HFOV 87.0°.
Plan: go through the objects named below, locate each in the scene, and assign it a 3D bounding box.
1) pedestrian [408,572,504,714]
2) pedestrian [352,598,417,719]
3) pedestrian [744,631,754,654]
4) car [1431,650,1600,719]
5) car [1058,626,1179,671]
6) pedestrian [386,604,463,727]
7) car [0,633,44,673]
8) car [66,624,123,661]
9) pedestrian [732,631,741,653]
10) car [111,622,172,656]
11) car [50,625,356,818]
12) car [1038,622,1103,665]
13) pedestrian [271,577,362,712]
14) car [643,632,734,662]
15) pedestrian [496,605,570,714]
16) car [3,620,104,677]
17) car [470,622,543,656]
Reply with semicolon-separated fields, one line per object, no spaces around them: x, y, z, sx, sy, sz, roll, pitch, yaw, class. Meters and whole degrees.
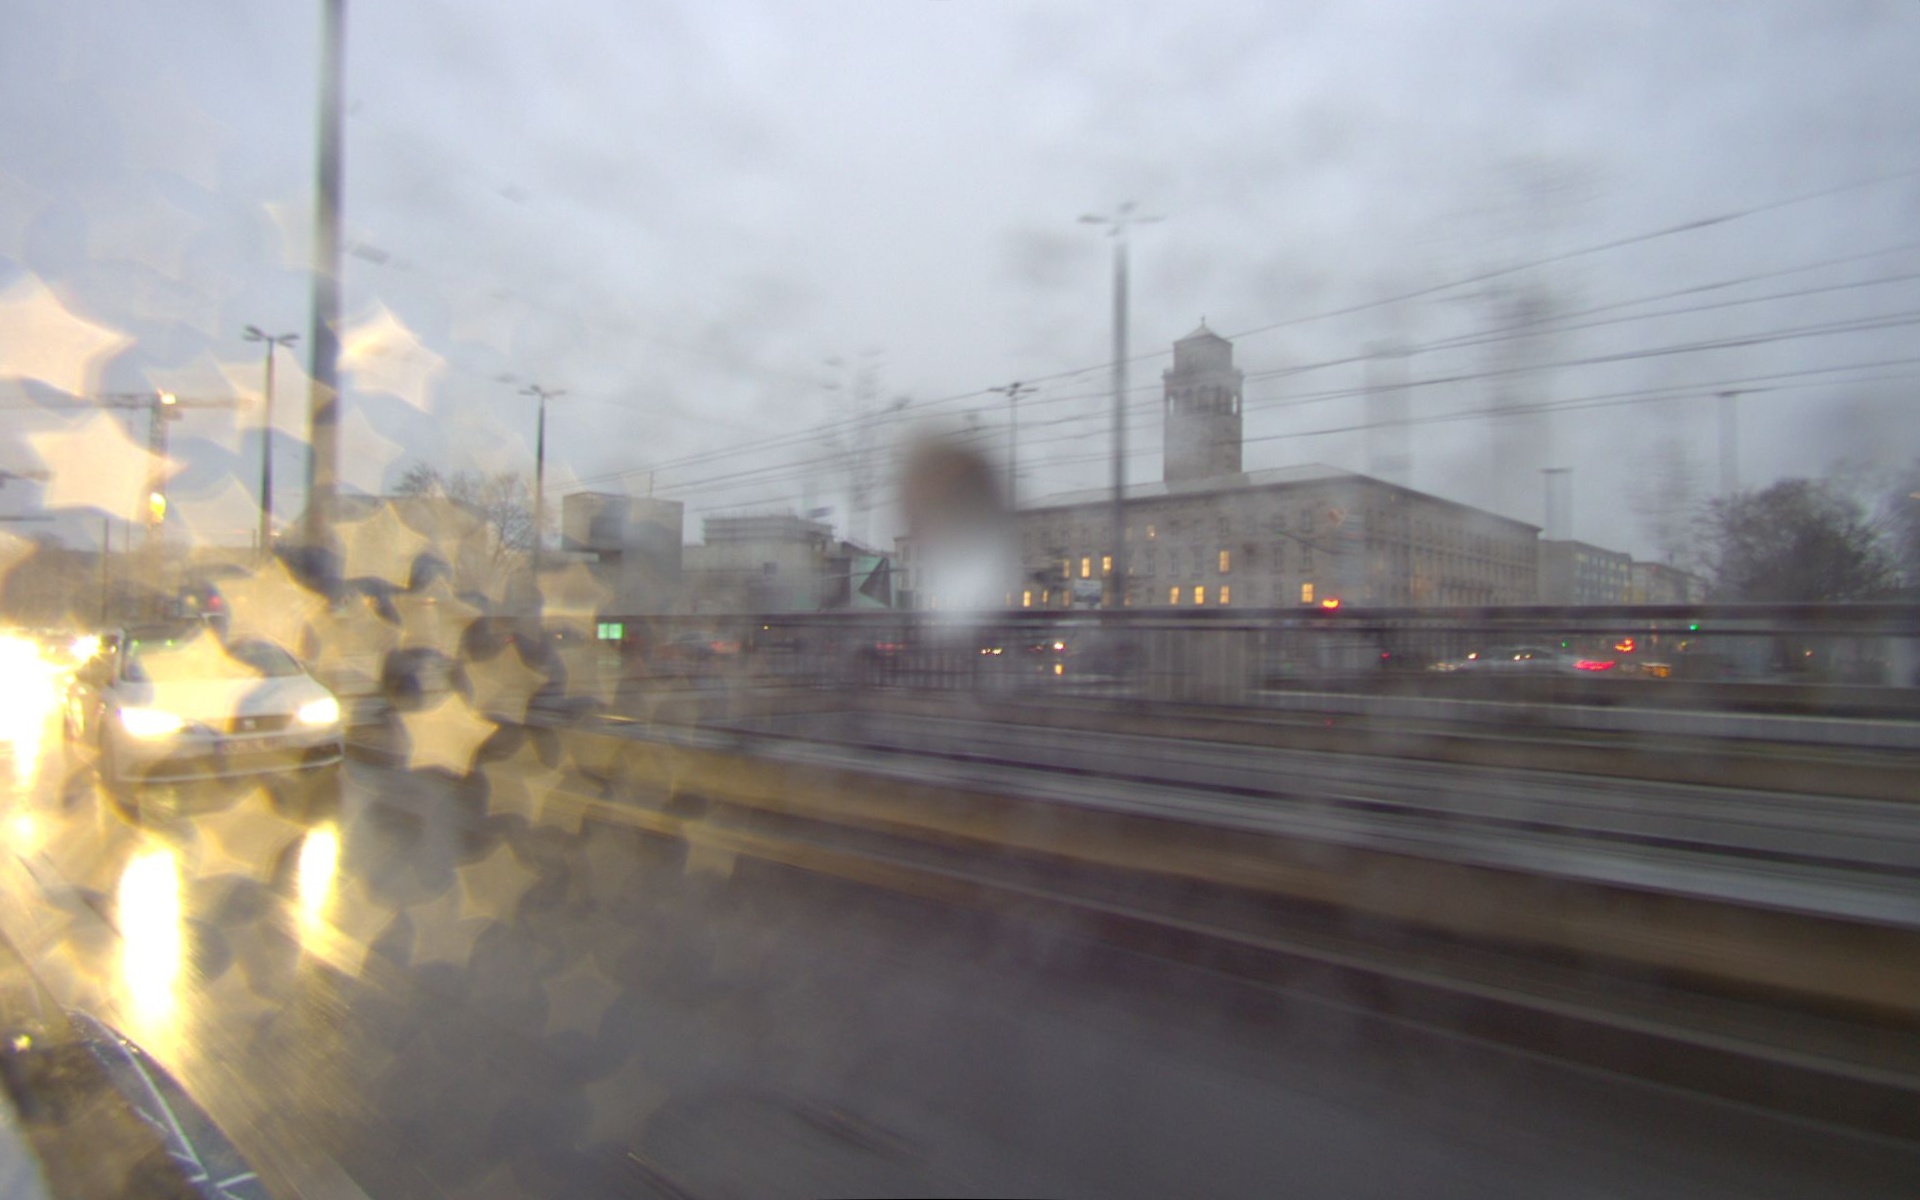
-8.225;0.686;16.556;0.949;2.224;1.048;0;-1;14;pedestrian
-8.464;0.846;14.906;0.656;1.748;0.607;1;0;-13;pedestrian
-15.889;3.184;76.173;0.646;1.674;0.743;1;-2;-13;pedestrian
17.236;2.550;31.468;4.378;1.887;1.856;-1;-1;38;car
6.055;1.825;38.825;4.226;1.628;1.856;-1;-1;37;car
-7.758;0.928;14.682;0.743;1.731;0.651;0;-1;14;pedestrian
-42.082;2.296;44.772;3.985;1.674;1.843;-1;-2;41;car
-46.956;2.298;54.882;3.999;1.896;1.927;-2;-2;42;car
-16.830;3.140;76.083;0.646;1.678;0.743;1;-2;-13;pedestrian
-40.146;1.896;49.603;3.928;1.541;1.776;-2;-2;42;car
-7.576;1.012;9.968;4.140;1.484;1.789;-2;-2;44;car
7.282;2.829;66.594;2.001;2.732;4.375;-1;-2;45;car
-10.732;0.722;16.886;1.014;2.162;0.897;-1;-1;30;pedestrian
-13.995;2.390;52.200;4.421;1.492;1.980;-1;-1;29;car
-6.966;0.950;16.554;0.757;1.727;0.857;0;-1;14;pedestrian
-28.698;1.479;32.003;4.000;1.696;1.972;-1;-2;43;car
-28.727;2.440;64.096;4.777;2.029;1.978;-1;-1;33;car
